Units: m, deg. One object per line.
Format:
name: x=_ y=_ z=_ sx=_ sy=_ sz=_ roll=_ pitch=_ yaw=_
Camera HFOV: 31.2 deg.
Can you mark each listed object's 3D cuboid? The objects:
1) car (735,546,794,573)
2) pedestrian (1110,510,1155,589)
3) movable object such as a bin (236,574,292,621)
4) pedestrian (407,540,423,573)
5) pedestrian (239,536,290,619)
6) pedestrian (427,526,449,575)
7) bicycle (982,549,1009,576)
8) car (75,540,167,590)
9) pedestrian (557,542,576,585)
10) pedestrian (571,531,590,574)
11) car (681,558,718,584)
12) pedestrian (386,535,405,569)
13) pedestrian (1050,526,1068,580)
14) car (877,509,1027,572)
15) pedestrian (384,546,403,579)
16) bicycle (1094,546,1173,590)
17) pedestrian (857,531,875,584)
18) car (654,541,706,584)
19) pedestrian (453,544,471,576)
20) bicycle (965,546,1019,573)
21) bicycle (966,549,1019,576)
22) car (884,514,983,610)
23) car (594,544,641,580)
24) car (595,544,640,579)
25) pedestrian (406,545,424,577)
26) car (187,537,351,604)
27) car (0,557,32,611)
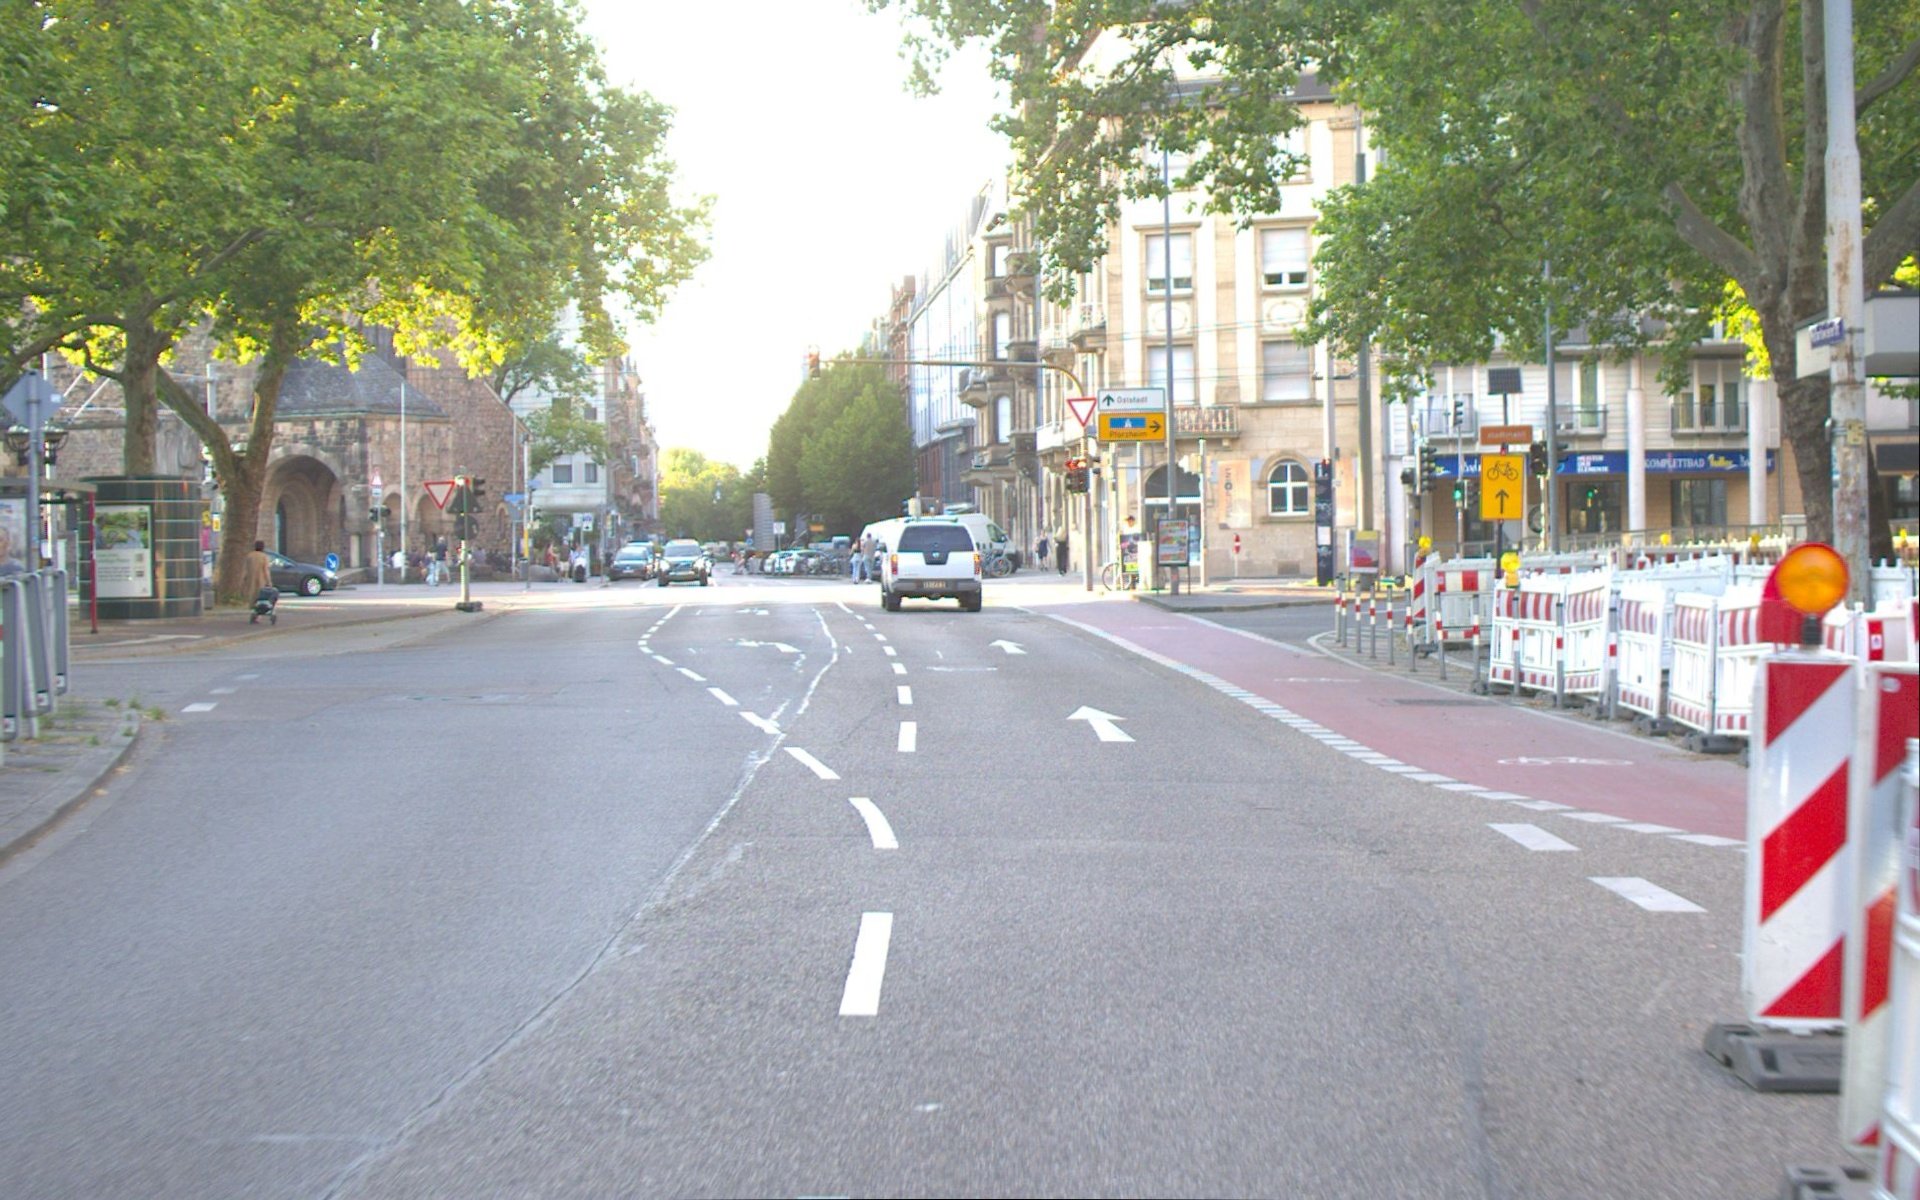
car: x=-13.531 y=-2.775 z=238.007 sx=3.986 sy=1.809 sz=2.000 roll=-1 pitch=1 yaw=-6
pedestrian: x=3.910 y=-1.144 z=77.812 sx=0.794 sy=1.762 sz=0.721 roll=-1 pitch=1 yaw=-17
movable object such as a bin: x=-13.505 y=-0.048 z=66.720 sx=0.738 sy=0.887 sz=0.982 roll=-1 pitch=1 yaw=12
pedestrian: x=-21.516 y=-1.722 z=135.831 sx=0.497 sy=1.276 sz=0.493 roll=-1 pitch=1 yaw=-24
pedestrian: x=-13.686 y=-0.448 z=67.654 sx=0.738 sy=1.623 sz=0.685 roll=-1 pitch=1 yaw=12
pedestrian: x=-20.162 y=-1.906 z=132.723 sx=0.594 sy=1.880 sz=0.553 roll=0 pitch=1 yaw=26
bicycle: x=1.317 y=-1.389 z=126.622 sx=0.544 sy=0.965 sz=1.920 roll=0 pitch=1 yaw=14
car: x=-32.881 y=-1.389 z=134.810 sx=1.709 sy=1.903 sz=3.491 roll=0 pitch=1 yaw=23
pedestrian: x=-17.068 y=-1.582 z=148.994 sx=0.594 sy=1.880 sz=0.584 roll=0 pitch=1 yaw=20
pedestrian: x=-16.420 y=-2.061 z=148.807 sx=0.594 sy=1.880 sz=0.553 roll=0 pitch=1 yaw=21
car: x=-15.676 y=-1.731 z=206.701 sx=1.993 sy=1.501 sz=3.822 roll=1 pitch=1 yaw=-8
pedestrian: x=-22.354 y=-1.895 z=136.120 sx=0.573 sy=1.315 sz=0.486 roll=-1 pitch=1 yaw=12
pedestrian: x=3.463 y=-1.647 z=119.925 sx=0.593 sy=1.880 sz=0.647 roll=-1 pitch=1 yaw=2
car: x=-0.289 y=-2.272 z=130.712 sx=5.807 sy=2.280 sz=2.071 roll=-2 pitch=1 yaw=-43
pedestrian: x=-22.241 y=-1.481 z=134.985 sx=0.573 sy=1.286 sz=0.486 roll=-1 pitch=1 yaw=12
bicycle: x=3.904 y=-0.713 z=77.319 sx=1.691 sy=0.965 sz=0.546 roll=-1 pitch=1 yaw=-6
pedestrian: x=-3.328 y=-1.508 z=121.798 sx=0.593 sy=1.880 sz=0.647 roll=-1 pitch=1 yaw=2
car: x=-11.032 y=-1.495 z=135.292 sx=1.781 sy=1.645 sz=3.822 roll=1 pitch=1 yaw=-8
pedestrian: x=-20.364 y=-1.649 z=140.659 sx=0.573 sy=1.286 sz=0.486 roll=-1 pitch=1 yaw=12
bicycle: x=1.143 y=-1.472 z=124.195 sx=1.914 sy=0.965 sz=0.546 roll=-1 pitch=1 yaw=-1
bicycle: x=1.170 y=-1.361 z=124.476 sx=1.914 sy=0.965 sz=0.546 roll=-1 pitch=1 yaw=-1
car: x=-0.555 y=-0.762 z=68.244 sx=1.866 sy=1.808 sz=4.000 roll=-2 pitch=1 yaw=-1
car: x=-15.664 y=-1.742 z=157.127 sx=1.993 sy=1.645 sz=3.822 roll=1 pitch=1 yaw=-8
car: x=-16.418 y=-1.852 z=164.840 sx=1.993 sy=1.645 sz=3.822 roll=1 pitch=1 yaw=-8
pedestrian: x=-21.435 y=-1.534 z=135.251 sx=0.498 sy=1.282 sz=0.492 roll=0 pitch=1 yaw=17
car: x=-20.236 y=-0.883 z=100.827 sx=4.615 sy=1.835 sz=2.086 roll=-1 pitch=2 yaw=-9
car: x=-29.738 y=-0.462 z=100.788 sx=4.634 sy=1.525 sz=1.998 roll=0 pitch=1 yaw=23
